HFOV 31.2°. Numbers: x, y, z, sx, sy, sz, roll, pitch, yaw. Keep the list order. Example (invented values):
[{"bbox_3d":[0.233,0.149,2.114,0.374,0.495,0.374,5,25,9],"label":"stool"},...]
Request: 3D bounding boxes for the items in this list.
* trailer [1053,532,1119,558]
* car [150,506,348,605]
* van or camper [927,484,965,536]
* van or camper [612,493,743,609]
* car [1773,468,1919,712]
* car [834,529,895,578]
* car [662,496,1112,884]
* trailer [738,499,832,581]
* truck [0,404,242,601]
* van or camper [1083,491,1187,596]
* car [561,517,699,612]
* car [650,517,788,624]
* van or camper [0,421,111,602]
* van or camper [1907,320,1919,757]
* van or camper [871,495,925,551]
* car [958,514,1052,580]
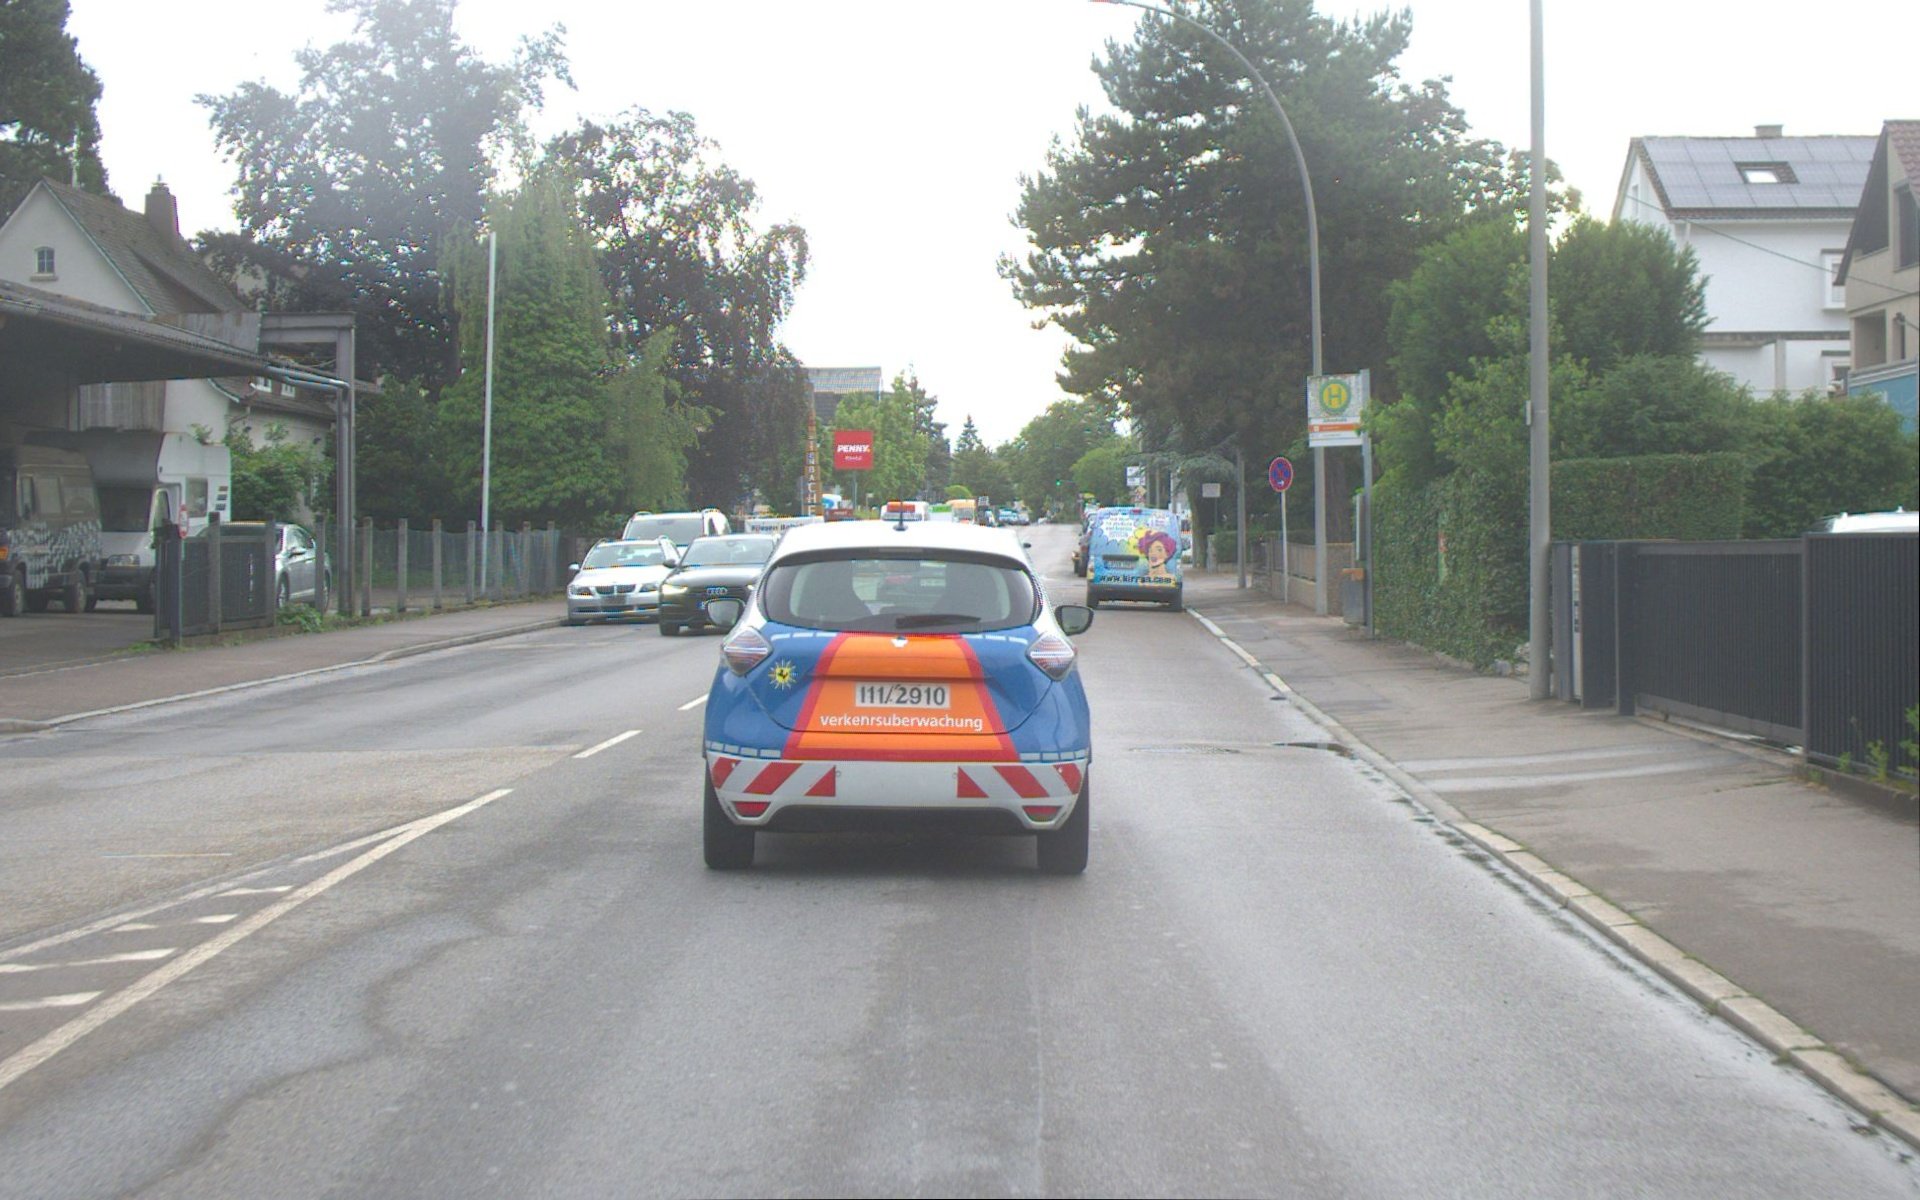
[{"bbox_3d":[3.848,-1.685,105.310,1.938,0.751,2.859,0,2,1],"label":"trailer"},{"bbox_3d":[-10.979,-0.687,53.433,1.936,1.439,4.782,1,1,2],"label":"car"},{"bbox_3d":[-0.748,-4.889,186.956,1.993,2.765,5.441,0,2,1],"label":"van or camper"},{"bbox_3d":[-5.303,-0.884,65.153,1.890,2.007,5.097,2,-1,1],"label":"van or camper"},{"bbox_3d":[7.305,-0.006,26.032,2.122,1.645,5.232,2,-1,13],"label":"car"},{"bbox_3d":[-3.404,-1.651,122.906,1.993,1.590,4.000,2,-1,0],"label":"car"},{"bbox_3d":[-0.250,0.330,16.455,1.888,1.626,4.000,0,1,2],"label":"car"},{"bbox_3d":[-4.645,-1.581,91.899,2.220,2.007,4.436,2,-1,0],"label":"trailer"},{"bbox_3d":[-13.506,-1.509,55.339,2.394,2.917,5.957,2,0,2],"label":"truck"},{"bbox_3d":[3.196,-1.062,63.367,1.754,1.876,4.000,0,1,1],"label":"van or camper"},{"bbox_3d":[-5.566,-0.572,58.409,1.742,1.475,4.183,-2,-1,2],"label":"car"},{"bbox_3d":[-3.539,-0.402,51.103,1.742,1.446,4.543,2,-1,-1],"label":"car"},{"bbox_3d":[-13.897,-1.251,49.629,1.859,2.429,5.234,3,-1,0],"label":"van or camper"},{"bbox_3d":[8.359,-0.310,18.525,5.904,2.477,2.131,1,-1,2],"label":"van or camper"},{"bbox_3d":[-2.625,-3.303,146.758,2.161,2.345,4.334,0,2,1],"label":"van or camper"},{"bbox_3d":[1.111,-1.300,83.247,1.994,1.415,4.000,-1,2,4],"label":"car"}]
